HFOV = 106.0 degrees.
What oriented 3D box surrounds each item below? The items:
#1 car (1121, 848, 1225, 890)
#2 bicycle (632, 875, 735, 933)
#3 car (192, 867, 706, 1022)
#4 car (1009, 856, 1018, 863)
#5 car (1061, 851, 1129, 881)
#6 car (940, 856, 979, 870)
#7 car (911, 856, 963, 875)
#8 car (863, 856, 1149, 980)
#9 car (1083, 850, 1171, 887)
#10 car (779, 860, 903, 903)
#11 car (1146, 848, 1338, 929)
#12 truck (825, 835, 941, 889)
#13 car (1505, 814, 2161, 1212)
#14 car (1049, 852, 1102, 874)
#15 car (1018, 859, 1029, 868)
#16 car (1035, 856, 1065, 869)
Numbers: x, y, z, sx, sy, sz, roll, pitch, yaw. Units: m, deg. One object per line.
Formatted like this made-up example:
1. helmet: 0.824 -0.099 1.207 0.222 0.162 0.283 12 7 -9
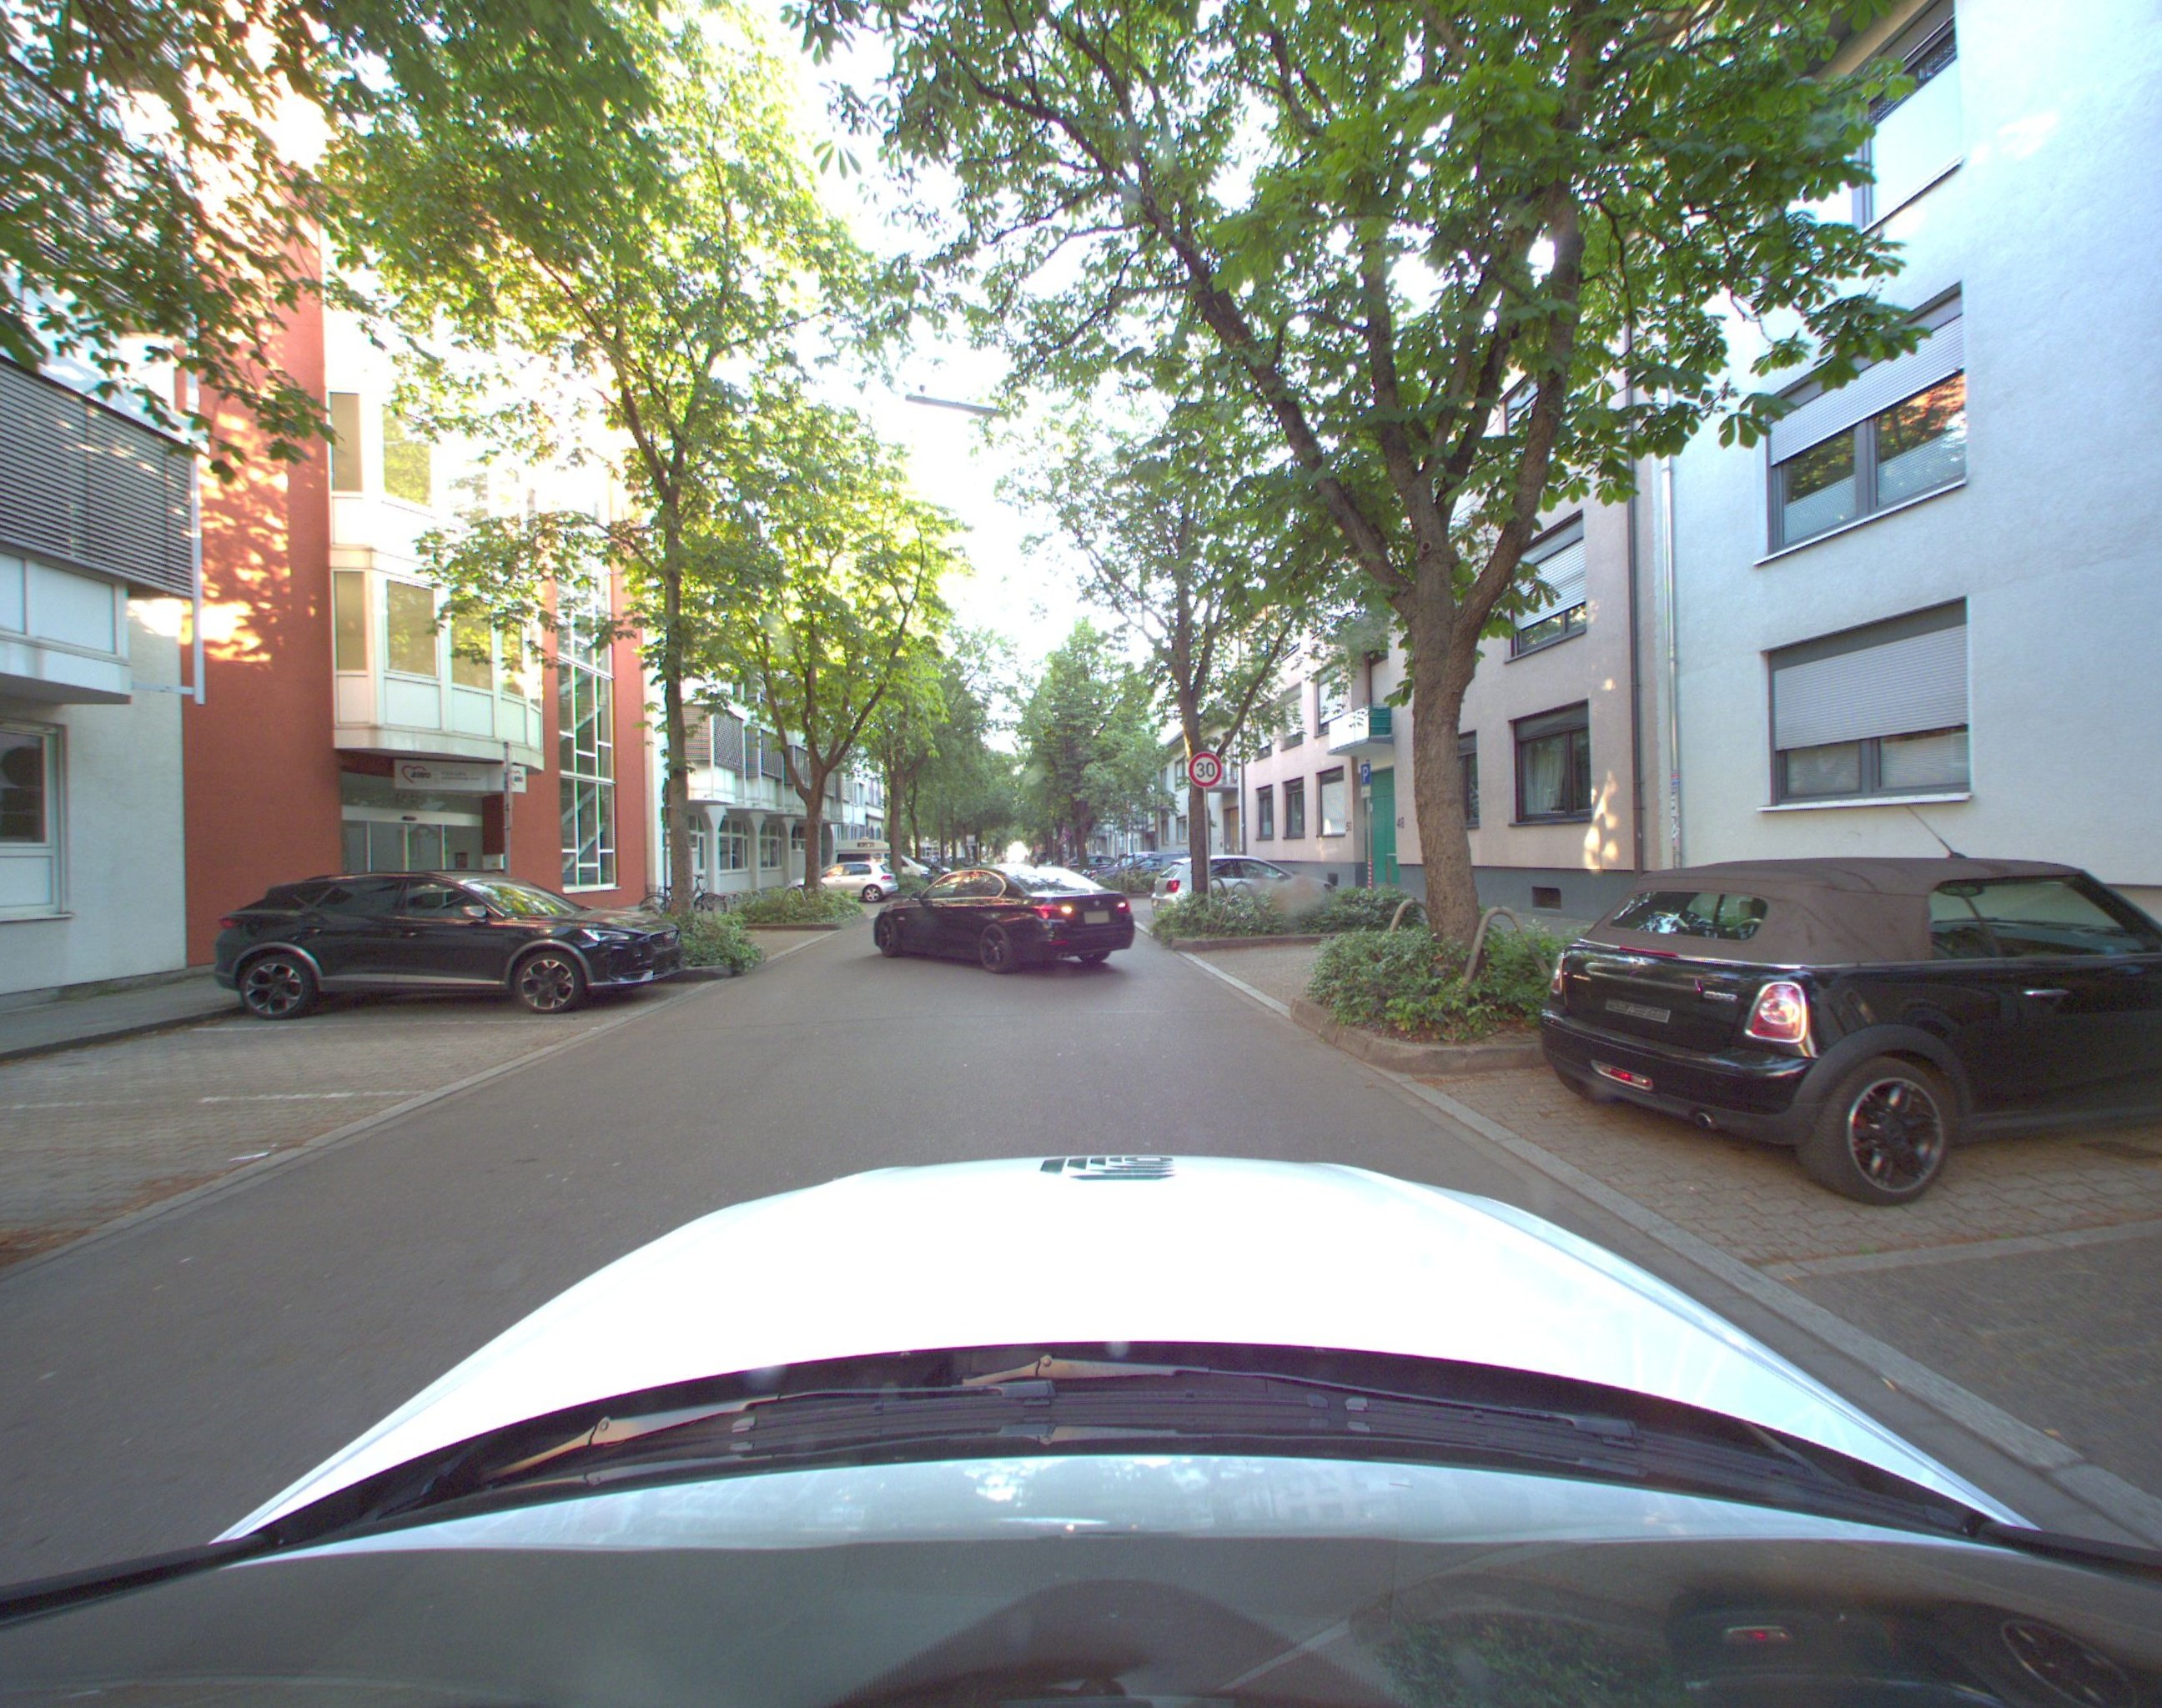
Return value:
1. car: 3.488 0.546 31.030 3.653 1.393 1.562 -2 0 -7
2. bicycle: -8.852 1.101 18.211 1.973 1.199 0.499 -1 0 -16
3. car: -6.941 0.941 9.400 4.349 1.509 1.832 0 0 -5
4. car: -13.941 1.172 168.287 1.891 1.475 3.995 -1 0 -4
5. car: 0.792 0.648 46.151 3.653 1.536 1.562 -2 0 -7
6. car: -12.923 0.918 86.924 4.015 1.471 1.637 0 0 -5
7. car: -11.666 0.909 66.148 4.015 1.471 1.637 0 0 -5
8. car: -1.308 0.802 12.091 1.778 1.450 4.611 -1 0 -43
9. car: 2.081 0.657 37.461 3.788 1.530 1.562 -2 0 -7
10. car: -8.825 0.997 30.155 4.125 1.471 1.637 0 0 -5
11. car: 3.345 0.685 17.237 3.653 1.479 1.562 -2 0 -7
12. truck: -9.256 0.351 38.437 4.989 2.441 1.914 0 1 -4
13. car: 4.535 0.608 4.405 3.703 1.428 1.622 -4 0 -10
14. car: -0.424 0.644 59.067 3.653 1.393 1.562 -2 0 -7
15. car: -10.493 1.656 147.901 1.990 1.552 3.993 -1 0 -5
16. car: -3.856 1.057 102.044 3.653 1.393 1.562 -2 0 -7
